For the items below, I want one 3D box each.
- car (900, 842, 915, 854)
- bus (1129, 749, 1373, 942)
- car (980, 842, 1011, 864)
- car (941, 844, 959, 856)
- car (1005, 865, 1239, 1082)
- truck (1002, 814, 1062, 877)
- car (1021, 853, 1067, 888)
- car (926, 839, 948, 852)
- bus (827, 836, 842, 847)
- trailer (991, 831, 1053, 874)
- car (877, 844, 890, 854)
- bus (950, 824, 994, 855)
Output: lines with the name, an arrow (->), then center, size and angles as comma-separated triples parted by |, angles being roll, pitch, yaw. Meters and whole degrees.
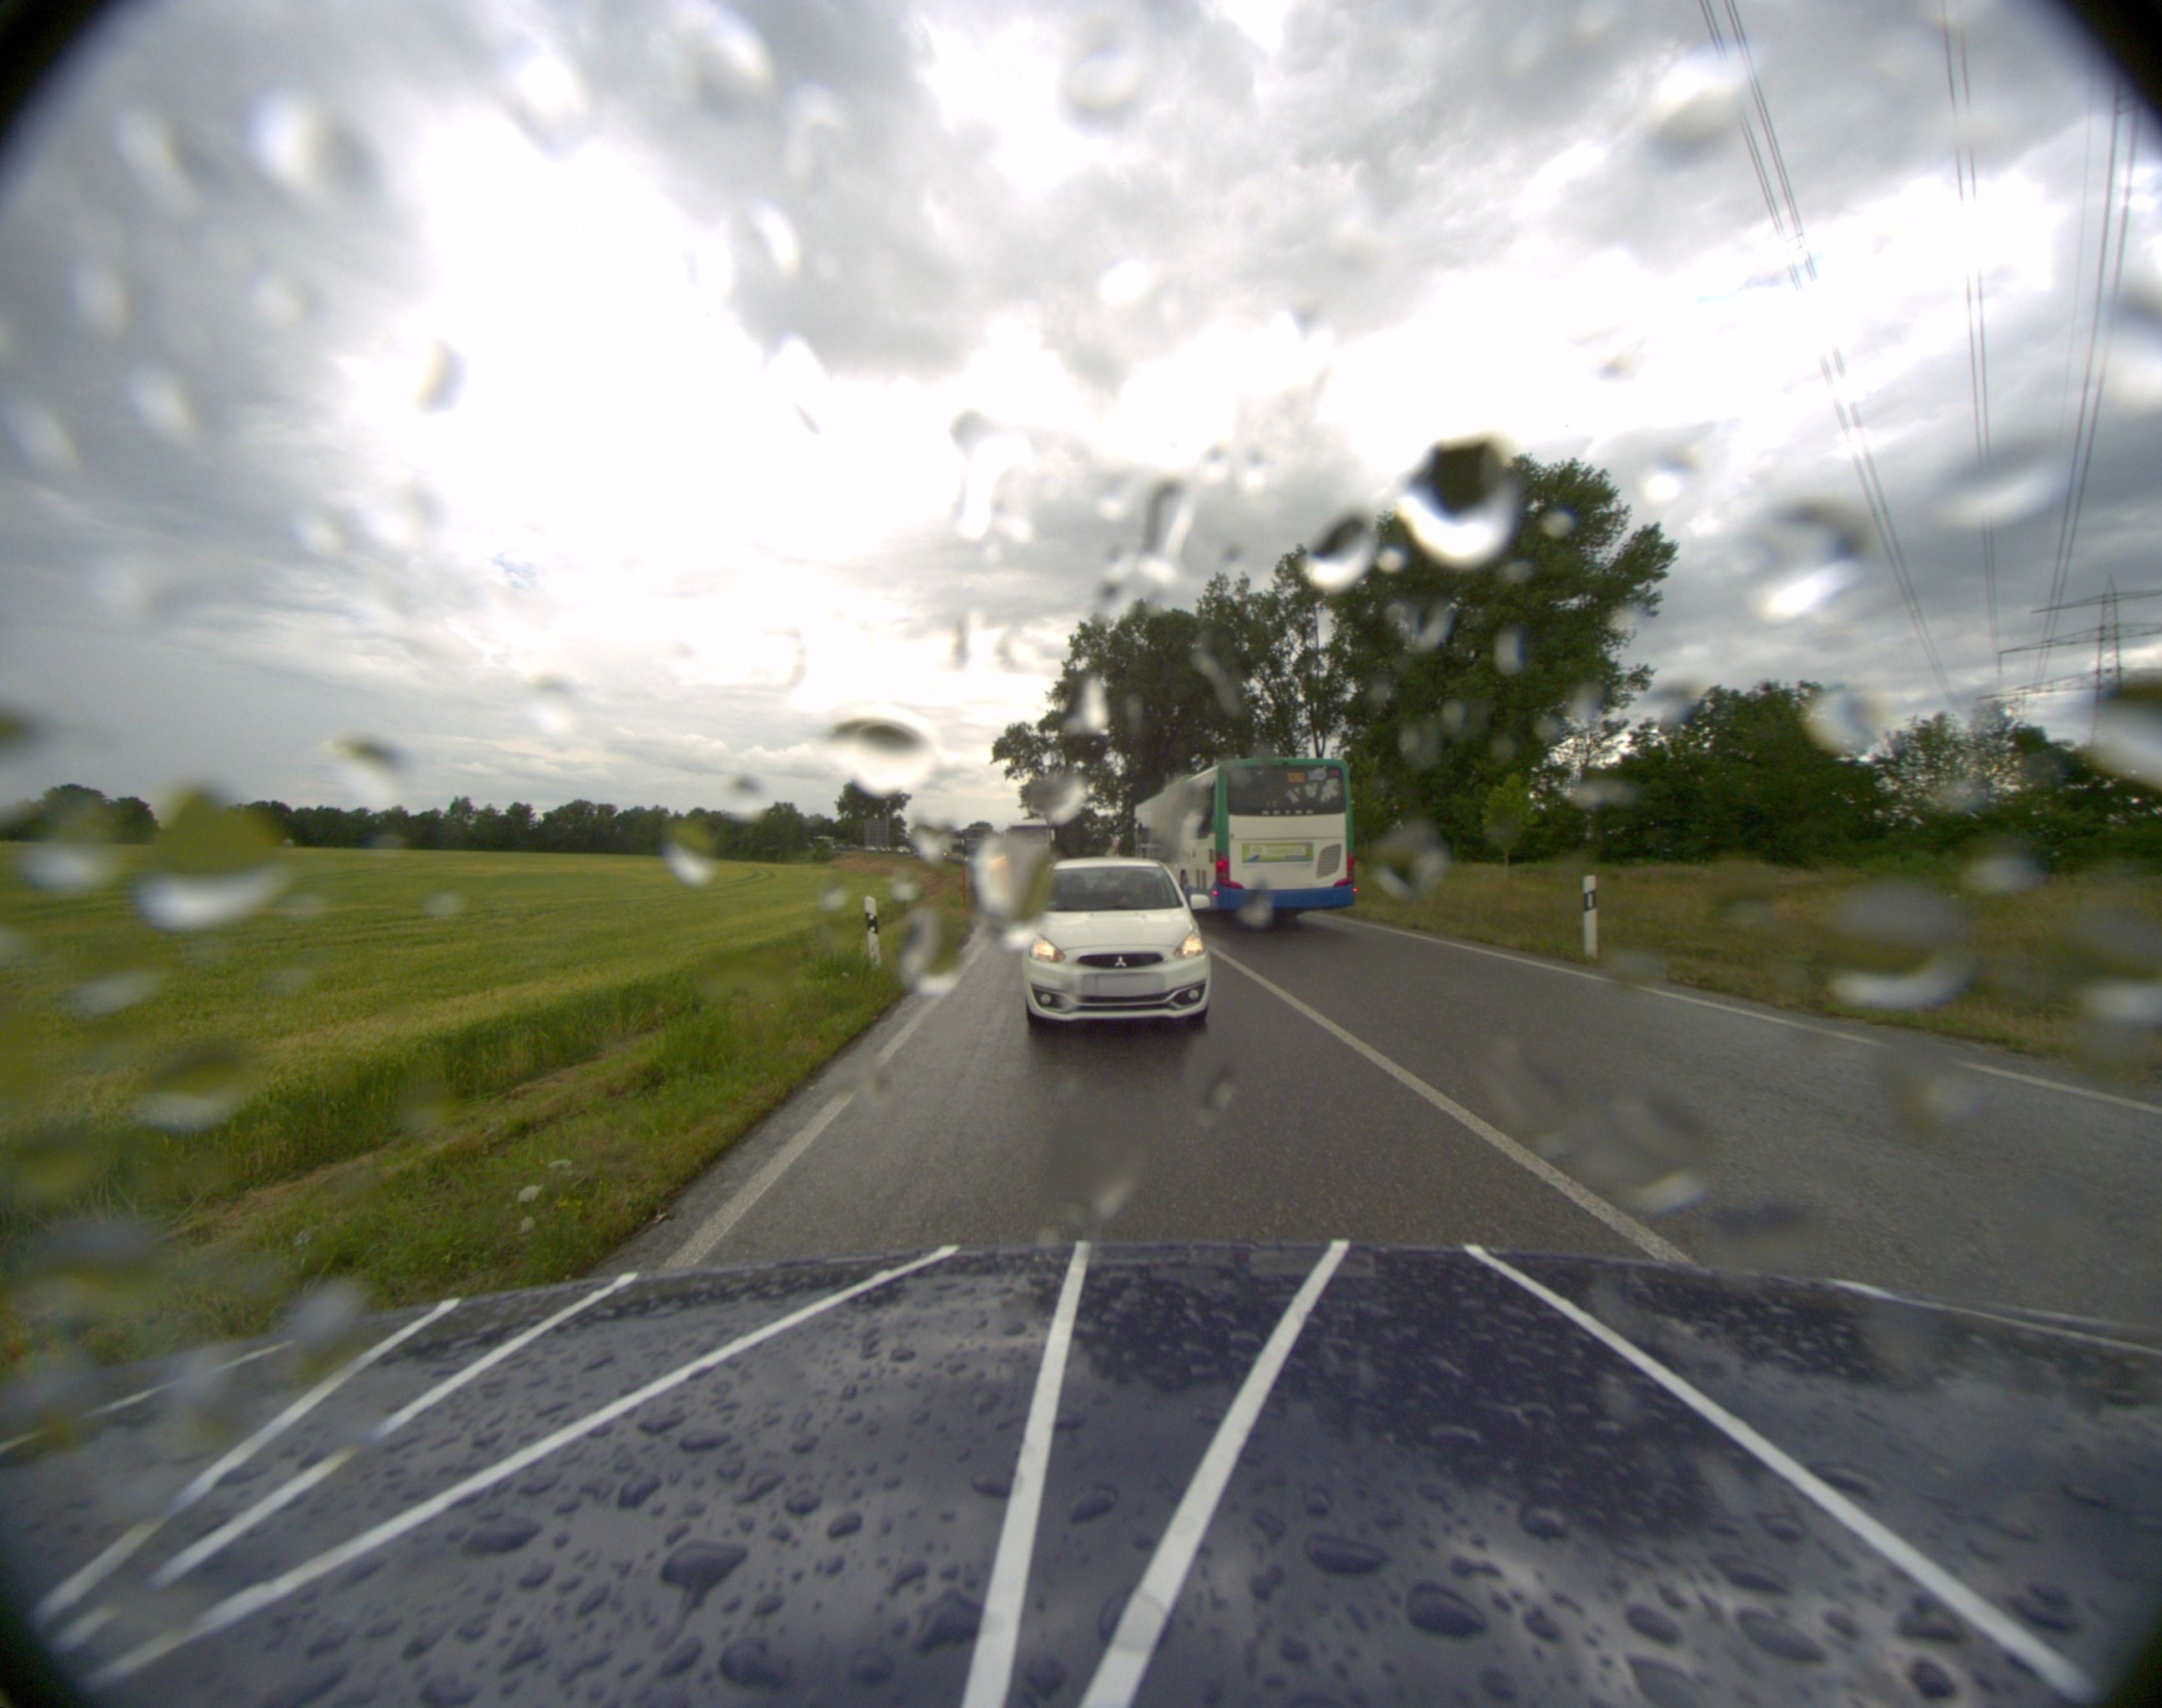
car -> -32.314, -1.123, 141.507 | 2.002, 2.002, 4.223 | -3, 2, -22
bus -> 3.355, -0.186, 19.432 | 2.766, 3.279, 12.497 | -2, 0, -3
car -> -8.006, -0.135, 70.991 | 2.044, 1.832, 5.328 | -2, 2, -15
car -> -17.905, -0.528, 103.920 | 1.816, 1.569, 3.993 | -2, 2, -18
car -> 0.261, 0.891, 7.521 | 1.653, 1.461, 4.029 | -2, 0, -1
truck -> -3.161, -0.555, 47.152 | 2.986, 3.590, 6.073 | -2, 2, -10
car -> -1.808, 0.728, 35.967 | 1.782, 1.380, 4.324 | -2, 2, -8
car -> -21.955, -1.294, 115.682 | 2.002, 2.002, 5.324 | -3, 2, -23
bus -> -68.069, -3.463, 209.705 | 2.003, 2.899, 6.991 | -3, 2, -34
trailer -> -4.627, -0.235, 55.584 | 2.986, 2.618, 15.664 | -2, 2, -10
car -> -43.501, -1.091, 167.379 | 2.002, 2.002, 4.161 | -3, 2, -24
bus -> -13.029, -1.817, 89.662 | 2.967, 3.294, 14.811 | -2, 2, -16
